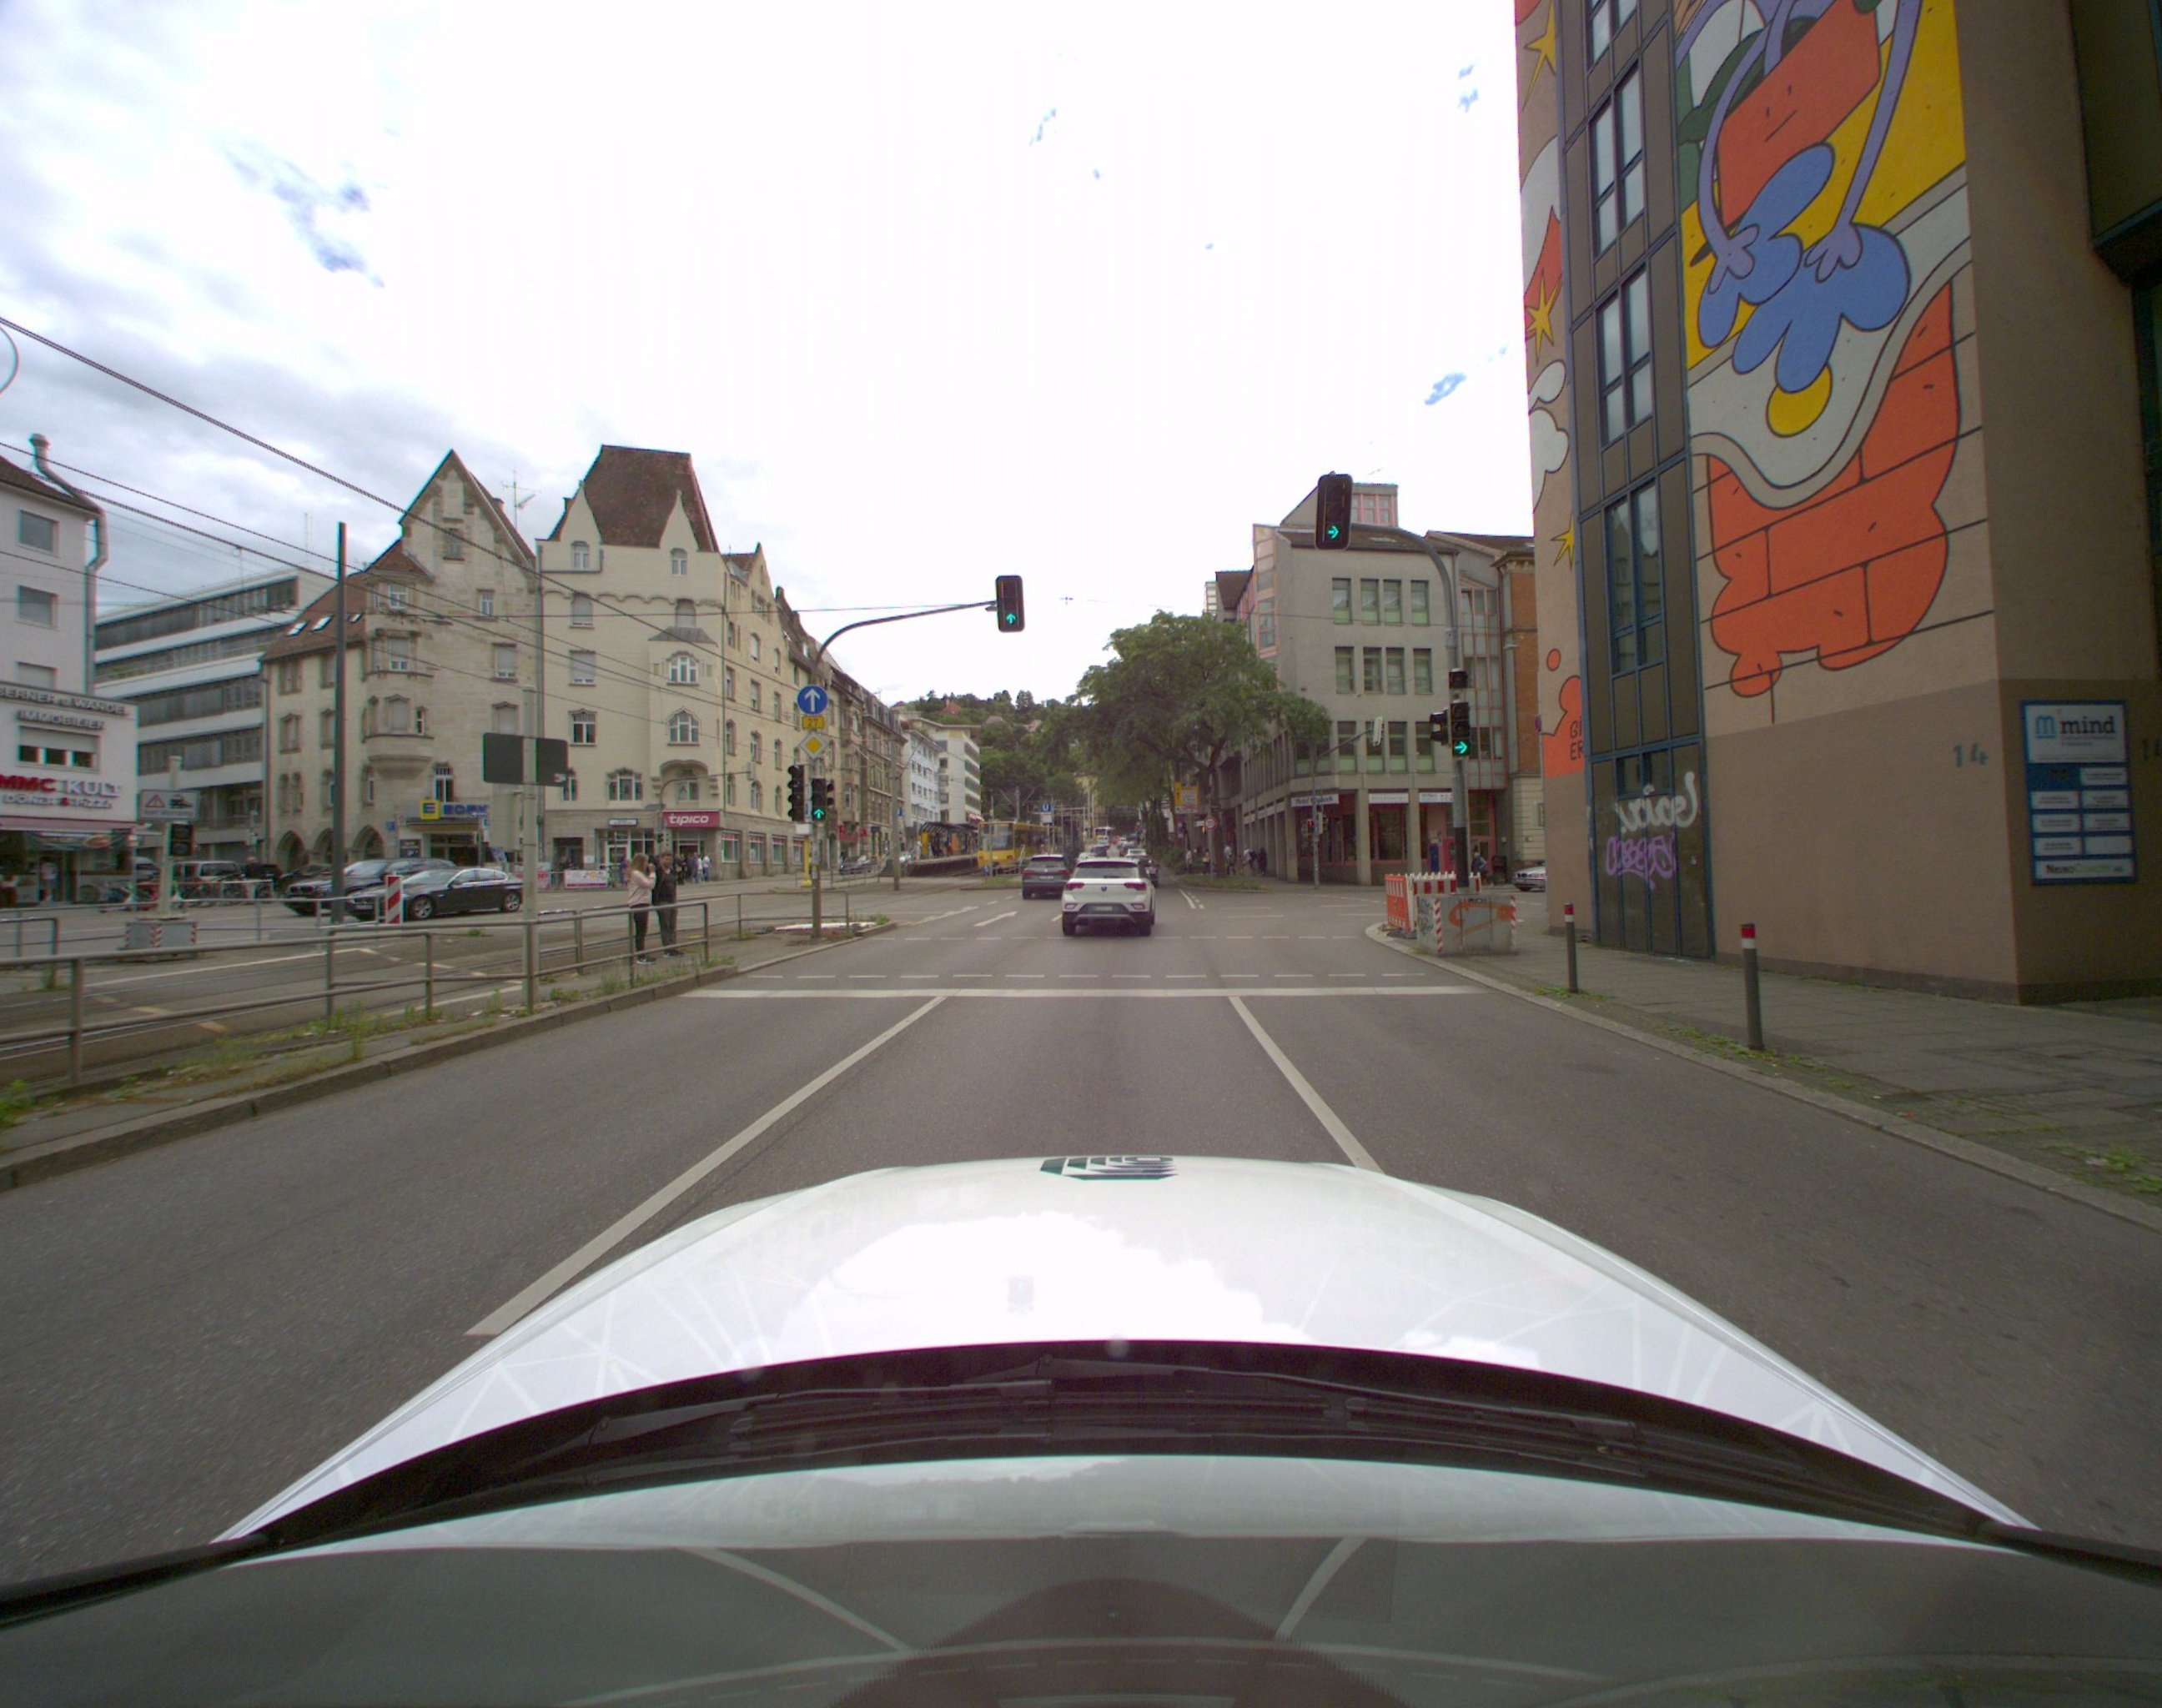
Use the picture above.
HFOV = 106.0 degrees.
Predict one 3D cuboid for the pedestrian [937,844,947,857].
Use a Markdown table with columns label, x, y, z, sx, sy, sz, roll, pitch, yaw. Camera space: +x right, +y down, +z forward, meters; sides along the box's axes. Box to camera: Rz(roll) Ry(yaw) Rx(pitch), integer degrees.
| label | x | y | z | sx | sy | sz | roll | pitch | yaw |
| --- | --- | --- | --- | --- | --- | --- | --- | --- | --- |
| pedestrian | -11.293 | -0.286 | 66.230 | 0.633 | 1.107 | 0.690 | -1 | 1 | 2 |

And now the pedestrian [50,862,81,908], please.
| label | x | y | z | sx | sy | sz | roll | pitch | yaw |
| --- | --- | --- | --- | --- | --- | --- | --- | --- | --- |
| pedestrian | -39.749 | 1.204 | 31.878 | 0.506 | 1.780 | 0.601 | -1 | 0 | 15 |

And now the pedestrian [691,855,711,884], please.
| label | x | y | z | sx | sy | sz | roll | pitch | yaw |
| --- | --- | --- | --- | --- | --- | --- | --- | --- | --- |
| pedestrian | -22.666 | 0.917 | 48.611 | 0.778 | 1.705 | 0.725 | -1 | 0 | 8 |

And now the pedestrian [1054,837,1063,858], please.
| label | x | y | z | sx | sy | sz | roll | pitch | yaw |
| --- | --- | --- | --- | --- | --- | --- | --- | --- | --- |
| pedestrian | -1.879 | -0.574 | 67.753 | 0.714 | 1.731 | 0.671 | 0 | -1 | 4 |

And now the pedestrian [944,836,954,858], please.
| label | x | y | z | sx | sy | sz | roll | pitch | yaw |
| --- | --- | --- | --- | --- | --- | --- | --- | --- | --- |
| pedestrian | -10.563 | -0.569 | 65.152 | 0.624 | 1.762 | 0.847 | -1 | 0 | 4 |

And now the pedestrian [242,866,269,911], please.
| label | x | y | z | sx | sy | sz | roll | pitch | yaw |
| --- | --- | --- | --- | --- | --- | --- | --- | --- | --- |
| pedestrian | -32.954 | 1.378 | 32.518 | 0.506 | 1.780 | 0.579 | -1 | 0 | 15 |

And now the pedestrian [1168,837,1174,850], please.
| label | x | y | z | sx | sy | sz | roll | pitch | yaw |
| --- | --- | --- | --- | --- | --- | --- | --- | --- | --- |
| pedestrian | 11.778 | -1.381 | 106.960 | 0.637 | 1.615 | 0.584 | 0 | -1 | -18 |

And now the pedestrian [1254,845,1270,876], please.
| label | x | y | z | sx | sy | sz | roll | pitch | yaw |
| --- | --- | --- | --- | --- | --- | --- | --- | --- | --- |
| pedestrian | 9.847 | 0.368 | 44.340 | 0.756 | 1.612 | 0.621 | -2 | 3 | 14 |

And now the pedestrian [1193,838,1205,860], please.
| label | x | y | z | sx | sy | sz | roll | pitch | yaw |
| --- | --- | --- | --- | --- | --- | --- | --- | --- | --- |
| pedestrian | 9.823 | -0.391 | 67.966 | 0.760 | 1.782 | 0.847 | -3 | 2 | -3 |

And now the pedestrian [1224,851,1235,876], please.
| label | x | y | z | sx | sy | sz | roll | pitch | yaw |
| --- | --- | --- | --- | --- | --- | --- | --- | --- | --- |
| pedestrian | 8.128 | 0.511 | 44.544 | 0.470 | 1.333 | 0.519 | 0 | -1 | -2 |

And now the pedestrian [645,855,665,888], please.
| label | x | y | z | sx | sy | sz | roll | pitch | yaw |
| --- | --- | --- | --- | --- | --- | --- | --- | --- | --- |
| pedestrian | -23.320 | 0.972 | 44.574 | 0.703 | 1.780 | 0.598 | -1 | 0 | 18 |

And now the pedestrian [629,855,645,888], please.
| label | x | y | z | sx | sy | sz | roll | pitch | yaw |
| --- | --- | --- | --- | --- | --- | --- | --- | --- | --- |
| pedestrian | -24.507 | 0.945 | 44.917 | 0.507 | 1.780 | 0.578 | -1 | 0 | 9 |

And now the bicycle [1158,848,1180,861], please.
| label | x | y | z | sx | sy | sz | roll | pitch | yaw |
| --- | --- | --- | --- | --- | --- | --- | --- | --- | --- |
| bicycle | 8.001 | 0.080 | 73.875 | 1.910 | 1.076 | 0.613 | -3 | 0 | -1 |

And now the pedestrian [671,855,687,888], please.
| label | x | y | z | sx | sy | sz | roll | pitch | yaw |
| --- | --- | --- | --- | --- | --- | --- | --- | --- | --- |
| pedestrian | -22.321 | 0.967 | 45.263 | 0.506 | 1.780 | 0.579 | -1 | 0 | 17 |

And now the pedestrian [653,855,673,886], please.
| label | x | y | z | sx | sy | sz | roll | pitch | yaw |
| --- | --- | --- | --- | --- | --- | --- | --- | --- | --- |
| pedestrian | -23.883 | 0.935 | 46.498 | 0.780 | 1.780 | 0.672 | -1 | 0 | 33 |

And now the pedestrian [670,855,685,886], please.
| label | x | y | z | sx | sy | sz | roll | pitch | yaw |
| --- | --- | --- | --- | --- | --- | --- | --- | --- | --- |
| pedestrian | -23.053 | 0.933 | 46.536 | 0.505 | 1.780 | 0.580 | -1 | 0 | 33 |

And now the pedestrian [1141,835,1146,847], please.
| label | x | y | z | sx | sy | sz | roll | pitch | yaw |
| --- | --- | --- | --- | --- | --- | --- | --- | --- | --- |
| pedestrian | 10.413 | -2.177 | 135.160 | 0.758 | 2.014 | 0.840 | 0 | -1 | 7 |

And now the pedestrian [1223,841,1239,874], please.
| label | x | y | z | sx | sy | sz | roll | pitch | yaw |
| --- | --- | --- | --- | --- | --- | --- | --- | --- | --- |
| pedestrian | 8.588 | 0.206 | 46.661 | 0.732 | 1.874 | 0.733 | -1 | -1 | -2 |

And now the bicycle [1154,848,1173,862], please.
| label | x | y | z | sx | sy | sz | roll | pitch | yaw |
| --- | --- | --- | --- | --- | --- | --- | --- | --- | --- |
| bicycle | 7.400 | 0.088 | 72.675 | 1.612 | 1.128 | 0.614 | -3 | 0 | 6 |

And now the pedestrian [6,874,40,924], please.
| label | x | y | z | sx | sy | sz | roll | pitch | yaw |
| --- | --- | --- | --- | --- | --- | --- | --- | --- | --- |
| pedestrian | -38.457 | 1.631 | 29.610 | 0.506 | 1.780 | 0.579 | -1 | 0 | 15 |

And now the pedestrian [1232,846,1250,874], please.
| label | x | y | z | sx | sy | sz | roll | pitch | yaw |
| --- | --- | --- | --- | --- | --- | --- | --- | --- | --- |
| pedestrian | 8.925 | 0.325 | 45.540 | 0.833 | 1.563 | 0.764 | 0 | -1 | -2 |

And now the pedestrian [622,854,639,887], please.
| label | x | y | z | sx | sy | sz | roll | pitch | yaw |
| --- | --- | --- | --- | --- | --- | --- | --- | --- | --- |
| pedestrian | -24.524 | 0.897 | 44.323 | 0.572 | 1.780 | 0.512 | -1 | 0 | 7 |

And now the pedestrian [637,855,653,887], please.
| label | x | y | z | sx | sy | sz | roll | pitch | yaw |
| --- | --- | --- | --- | --- | --- | --- | --- | --- | --- |
| pedestrian | -24.391 | 0.945 | 45.579 | 0.507 | 1.780 | 0.578 | -1 | 0 | 5 |

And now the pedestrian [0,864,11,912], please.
| label | x | y | z | sx | sy | sz | roll | pitch | yaw |
| --- | --- | --- | --- | --- | --- | --- | --- | --- | --- |
| pedestrian | -38.934 | 1.208 | 29.016 | 0.778 | 1.705 | 0.655 | -1 | 0 | 8 |

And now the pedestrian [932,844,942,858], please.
| label | x | y | z | sx | sy | sz | roll | pitch | yaw |
| --- | --- | --- | --- | --- | --- | --- | --- | --- | --- |
| pedestrian | -11.453 | -0.231 | 64.734 | 0.633 | 1.107 | 0.690 | -1 | 1 | 2 |

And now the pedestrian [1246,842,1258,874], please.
| label | x | y | z | sx | sy | sz | roll | pitch | yaw |
| --- | --- | --- | --- | --- | --- | --- | --- | --- | --- |
| pedestrian | 9.558 | 0.223 | 45.587 | 0.517 | 1.789 | 0.764 | 0 | -1 | -2 |

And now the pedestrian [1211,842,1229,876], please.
| label | x | y | z | sx | sy | sz | roll | pitch | yaw |
| --- | --- | --- | --- | --- | --- | --- | --- | --- | --- |
| pedestrian | 7.759 | 0.288 | 45.475 | 0.719 | 1.802 | 0.834 | -3 | 2 | -2 |

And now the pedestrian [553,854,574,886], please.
| label | x | y | z | sx | sy | sz | roll | pitch | yaw |
| --- | --- | --- | --- | --- | --- | --- | --- | --- | --- |
| pedestrian | -29.415 | 0.898 | 46.329 | 0.571 | 1.780 | 0.823 | -1 | 0 | 12 |

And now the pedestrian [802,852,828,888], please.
| label | x | y | z | sx | sy | sz | roll | pitch | yaw |
| --- | --- | --- | --- | --- | --- | --- | --- | --- | --- |
| pedestrian | -12.853 | 0.785 | 39.397 | 0.866 | 1.705 | 0.817 | -1 | 0 | 31 |

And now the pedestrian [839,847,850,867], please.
| label | x | y | z | sx | sy | sz | roll | pitch | yaw |
| --- | --- | --- | --- | --- | --- | --- | --- | --- | --- |
| pedestrian | -21.233 | 0.298 | 72.987 | 0.632 | 1.762 | 0.836 | -1 | 0 | -40 |

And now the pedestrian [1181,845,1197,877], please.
| label | x | y | z | sx | sy | sz | roll | pitch | yaw |
| --- | --- | --- | --- | --- | --- | --- | --- | --- | --- |
| pedestrian | 6.199 | 0.381 | 46.786 | 0.691 | 1.777 | 0.689 | -6 | 0 | -2 |

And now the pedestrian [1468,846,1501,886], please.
| label | x | y | z | sx | sy | sz | roll | pitch | yaw |
| --- | --- | --- | --- | --- | --- | --- | --- | --- | --- |
| pedestrian | 17.699 | 0.508 | 35.707 | 1.111 | 1.712 | 0.861 | -1 | 0 | 37 |

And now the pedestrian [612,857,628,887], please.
| label | x | y | z | sx | sy | sz | roll | pitch | yaw |
| --- | --- | --- | --- | --- | --- | --- | --- | --- | --- |
| pedestrian | -24.733 | 0.970 | 43.689 | 0.572 | 1.582 | 0.512 | -1 | 0 | 4 |

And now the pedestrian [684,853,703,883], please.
| label | x | y | z | sx | sy | sz | roll | pitch | yaw |
| --- | --- | --- | --- | --- | --- | --- | --- | --- | --- |
| pedestrian | -22.335 | 0.812 | 46.974 | 0.667 | 1.677 | 0.694 | -1 | 0 | 20 |

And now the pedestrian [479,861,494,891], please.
| label | x | y | z | sx | sy | sz | roll | pitch | yaw |
| --- | --- | --- | --- | --- | --- | --- | --- | --- | --- |
| pedestrian | -35.904 | 1.300 | 49.191 | 0.575 | 1.780 | 0.509 | -1 | 0 | -11 |
